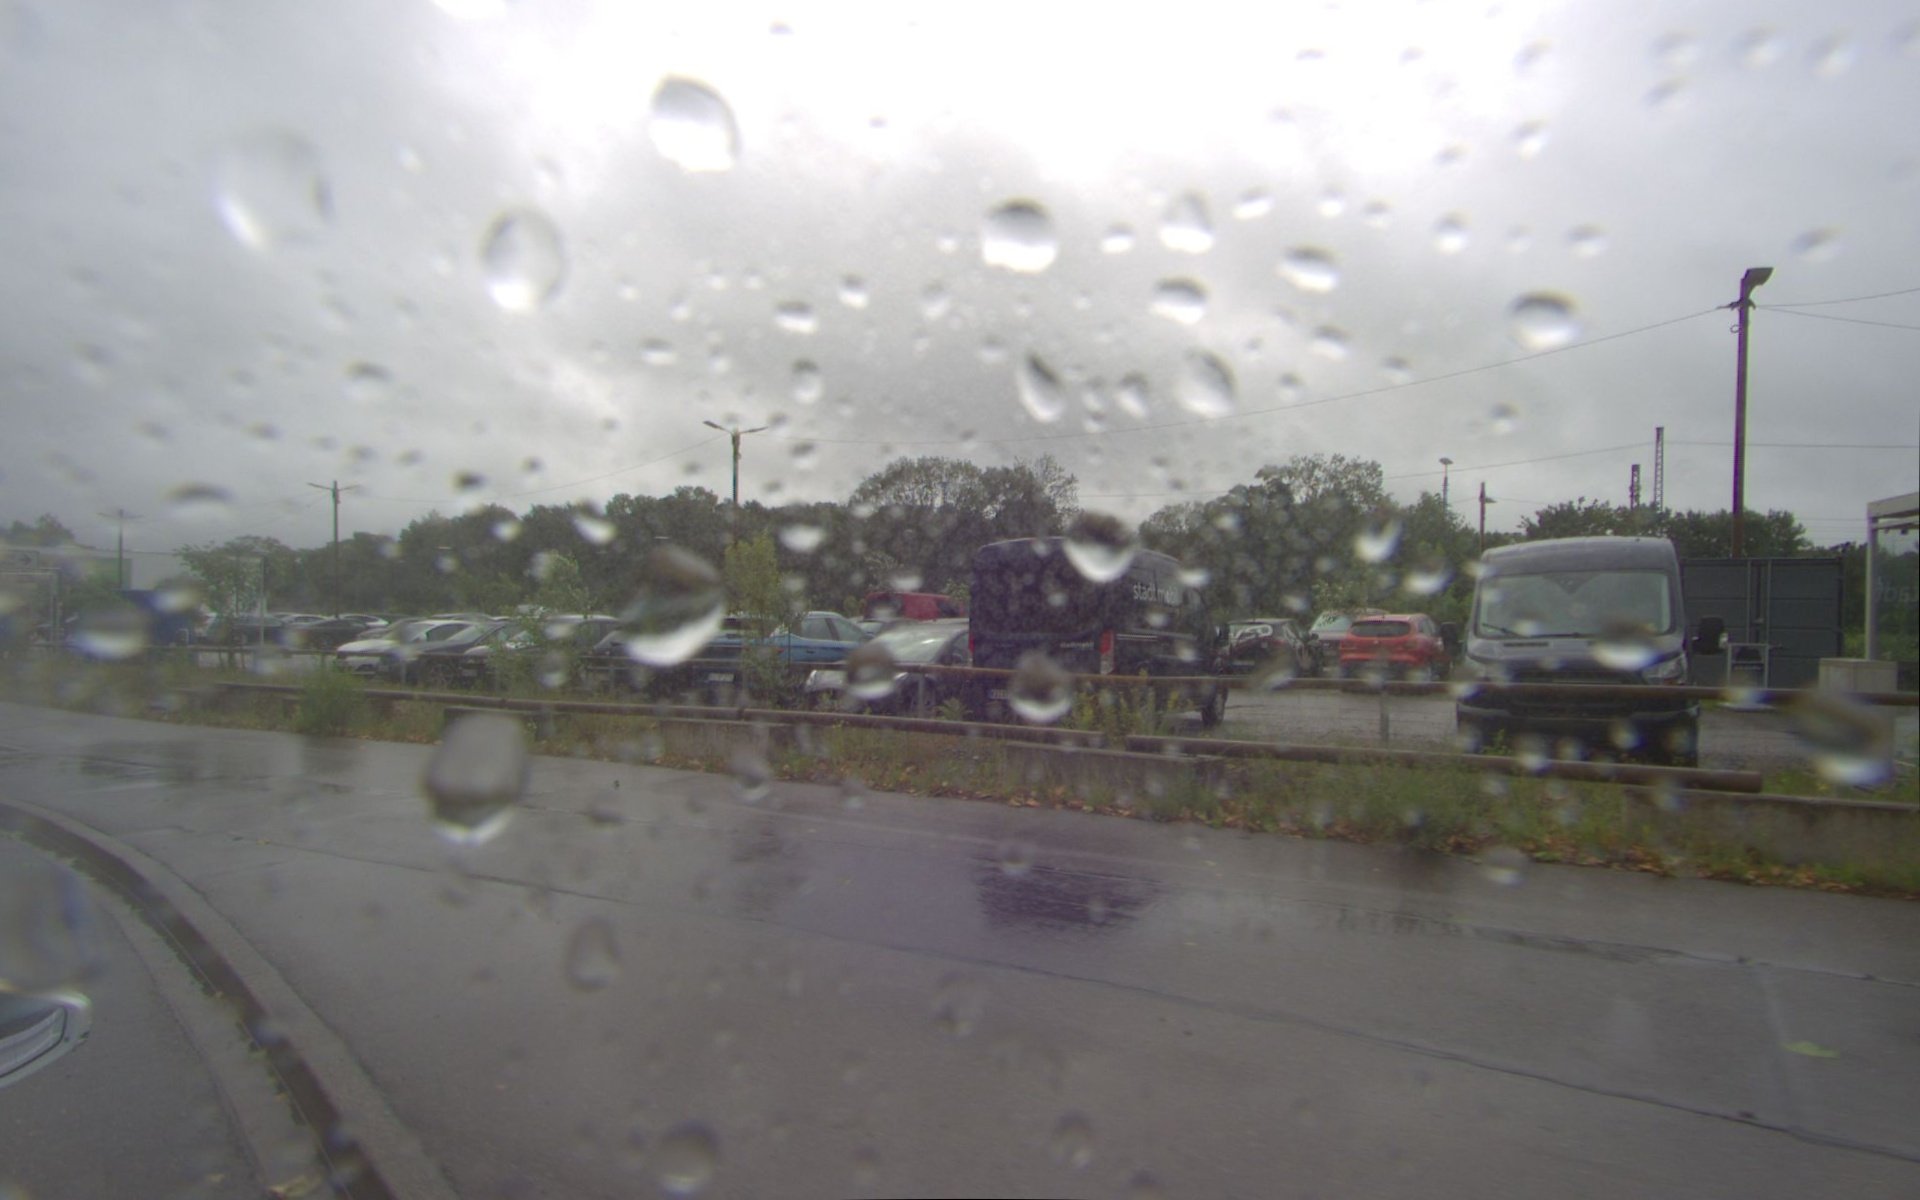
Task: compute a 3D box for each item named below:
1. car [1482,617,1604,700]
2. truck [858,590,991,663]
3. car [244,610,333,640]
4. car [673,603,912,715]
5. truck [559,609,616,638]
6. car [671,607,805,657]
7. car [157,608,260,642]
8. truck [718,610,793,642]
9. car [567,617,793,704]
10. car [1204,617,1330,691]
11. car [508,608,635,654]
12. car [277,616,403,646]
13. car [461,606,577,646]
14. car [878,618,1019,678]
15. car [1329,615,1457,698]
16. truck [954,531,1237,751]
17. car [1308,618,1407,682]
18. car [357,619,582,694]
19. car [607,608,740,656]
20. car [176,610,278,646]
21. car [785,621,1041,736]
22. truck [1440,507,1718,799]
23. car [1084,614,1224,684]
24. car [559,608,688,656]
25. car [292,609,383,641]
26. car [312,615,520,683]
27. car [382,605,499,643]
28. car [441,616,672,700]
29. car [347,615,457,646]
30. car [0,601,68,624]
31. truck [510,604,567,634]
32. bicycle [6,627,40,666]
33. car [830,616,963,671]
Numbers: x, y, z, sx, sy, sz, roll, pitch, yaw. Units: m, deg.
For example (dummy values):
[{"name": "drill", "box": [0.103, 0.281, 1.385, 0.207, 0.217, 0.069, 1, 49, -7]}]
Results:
[{"name": "car", "box": [12.063, 1.128, 20.596, 1.818, 1.468, 3.975, -1, 0, 35]}, {"name": "truck", "box": [-1.160, 0.909, 35.590, 2.122, 2.399, 5.277, 0, 0, 33]}, {"name": "car", "box": [-40.462, 1.496, 60.406, 1.901, 1.626, 4.048, -1, 0, 34]}, {"name": "car", "box": [-2.643, 0.946, 16.679, 1.869, 1.614, 3.891, -1, -3, 31]}, {"name": "truck", "box": [-30.194, 1.881, 81.064, 5.020, 2.166, 2.064, 0, 0, 39]}, {"name": "car", "box": [-7.017, 0.988, 31.909, 1.862, 1.446, 3.940, -1, 0, 35]}, {"name": "car", "box": [-38.812, 1.271, 51.793, 1.763, 1.605, 3.889, -1, 0, 36]}, {"name": "truck", "box": [-14.134, 1.778, 69.195, 5.207, 2.040, 2.075, 1, 0, 35]}, {"name": "car", "box": [-5.026, 1.080, 18.480, 1.753, 1.412, 3.891, -1, -3, 31]}, {"name": "car", "box": [7.255, 1.198, 23.437, 1.685, 1.499, 3.940, -1, 0, 35]}, {"name": "car", "box": [-13.867, 1.080, 35.961, 1.754, 1.509, 3.940, -1, 0, 35]}, {"name": "car", "box": [-28.691, 1.400, 46.471, 1.950, 1.237, 4.578, -1, -1, 32]}, {"name": "car", "box": [-17.756, 1.013, 40.449, 1.754, 1.509, 3.940, -1, 0, 35]}, {"name": "car", "box": [-0.230, 1.251, 27.147, 1.862, 1.446, 3.940, -1, 0, 35]}, {"name": "car", "box": [9.508, 1.153, 21.803, 1.783, 1.557, 3.940, -1, 0, 35]}, {"name": "truck", "box": [2.100, 0.553, 13.809, 2.079, 2.433, 5.027, 0, -2, 31]}, {"name": "car", "box": [11.168, 1.354, 27.979, 1.741, 1.661, 3.977, 0, -2, 34]}, {"name": "car", "box": [-10.246, 1.165, 21.176, 1.878, 1.440, 3.891, -1, -3, 31]}, {"name": "car", "box": [-9.366, 1.024, 32.972, 1.862, 1.446, 3.940, -1, 0, 35]}, {"name": "car", "box": [-36.707, 1.383, 50.200, 1.763, 1.605, 3.761, -1, 0, 36]}, {"name": "car", "box": [-0.528, 1.077, 14.815, 1.836, 1.438, 4.155, -1, -3, 30]}, {"name": "truck", "box": [6.724, 0.534, 10.883, 2.046, 2.352, 5.319, 0, -2, 33]}, {"name": "car", "box": [4.848, 1.142, 24.640, 1.900, 1.510, 4.053, -1, 0, 35]}, {"name": "car", "box": [-11.521, 1.072, 34.501, 1.754, 1.509, 3.940, -1, 0, 35]}, {"name": "car", "box": [-35.635, 1.420, 57.415, 1.806, 1.681, 4.052, -1, 0, 31]}, {"name": "car", "box": [-12.376, 1.109, 22.998, 1.878, 1.411, 3.767, -1, -3, 31]}, {"name": "car", "box": [-21.788, 0.981, 42.103, 1.845, 1.509, 3.940, -1, 0, 35]}, {"name": "car", "box": [-7.676, 1.085, 19.389, 1.753, 1.440, 3.891, -1, -3, 31]}, {"name": "car", "box": [-24.263, 1.314, 43.673, 1.627, 1.237, 3.872, -1, -1, 38]}, {"name": "car", "box": [-65.851, 0.903, 70.635, 1.973, 1.504, 3.978, -1, -3, 34]}, {"name": "truck", "box": [-35.817, 1.563, 85.018, 5.012, 2.433, 2.067, 0, 0, 34]}, {"name": "bicycle", "box": [-27.757, 1.357, 29.670, 0.502, 1.098, 1.691, 0, 0, -35]}, {"name": "car", "box": [-1.814, 1.236, 29.642, 1.862, 1.446, 3.940, -1, 0, 35]}]
